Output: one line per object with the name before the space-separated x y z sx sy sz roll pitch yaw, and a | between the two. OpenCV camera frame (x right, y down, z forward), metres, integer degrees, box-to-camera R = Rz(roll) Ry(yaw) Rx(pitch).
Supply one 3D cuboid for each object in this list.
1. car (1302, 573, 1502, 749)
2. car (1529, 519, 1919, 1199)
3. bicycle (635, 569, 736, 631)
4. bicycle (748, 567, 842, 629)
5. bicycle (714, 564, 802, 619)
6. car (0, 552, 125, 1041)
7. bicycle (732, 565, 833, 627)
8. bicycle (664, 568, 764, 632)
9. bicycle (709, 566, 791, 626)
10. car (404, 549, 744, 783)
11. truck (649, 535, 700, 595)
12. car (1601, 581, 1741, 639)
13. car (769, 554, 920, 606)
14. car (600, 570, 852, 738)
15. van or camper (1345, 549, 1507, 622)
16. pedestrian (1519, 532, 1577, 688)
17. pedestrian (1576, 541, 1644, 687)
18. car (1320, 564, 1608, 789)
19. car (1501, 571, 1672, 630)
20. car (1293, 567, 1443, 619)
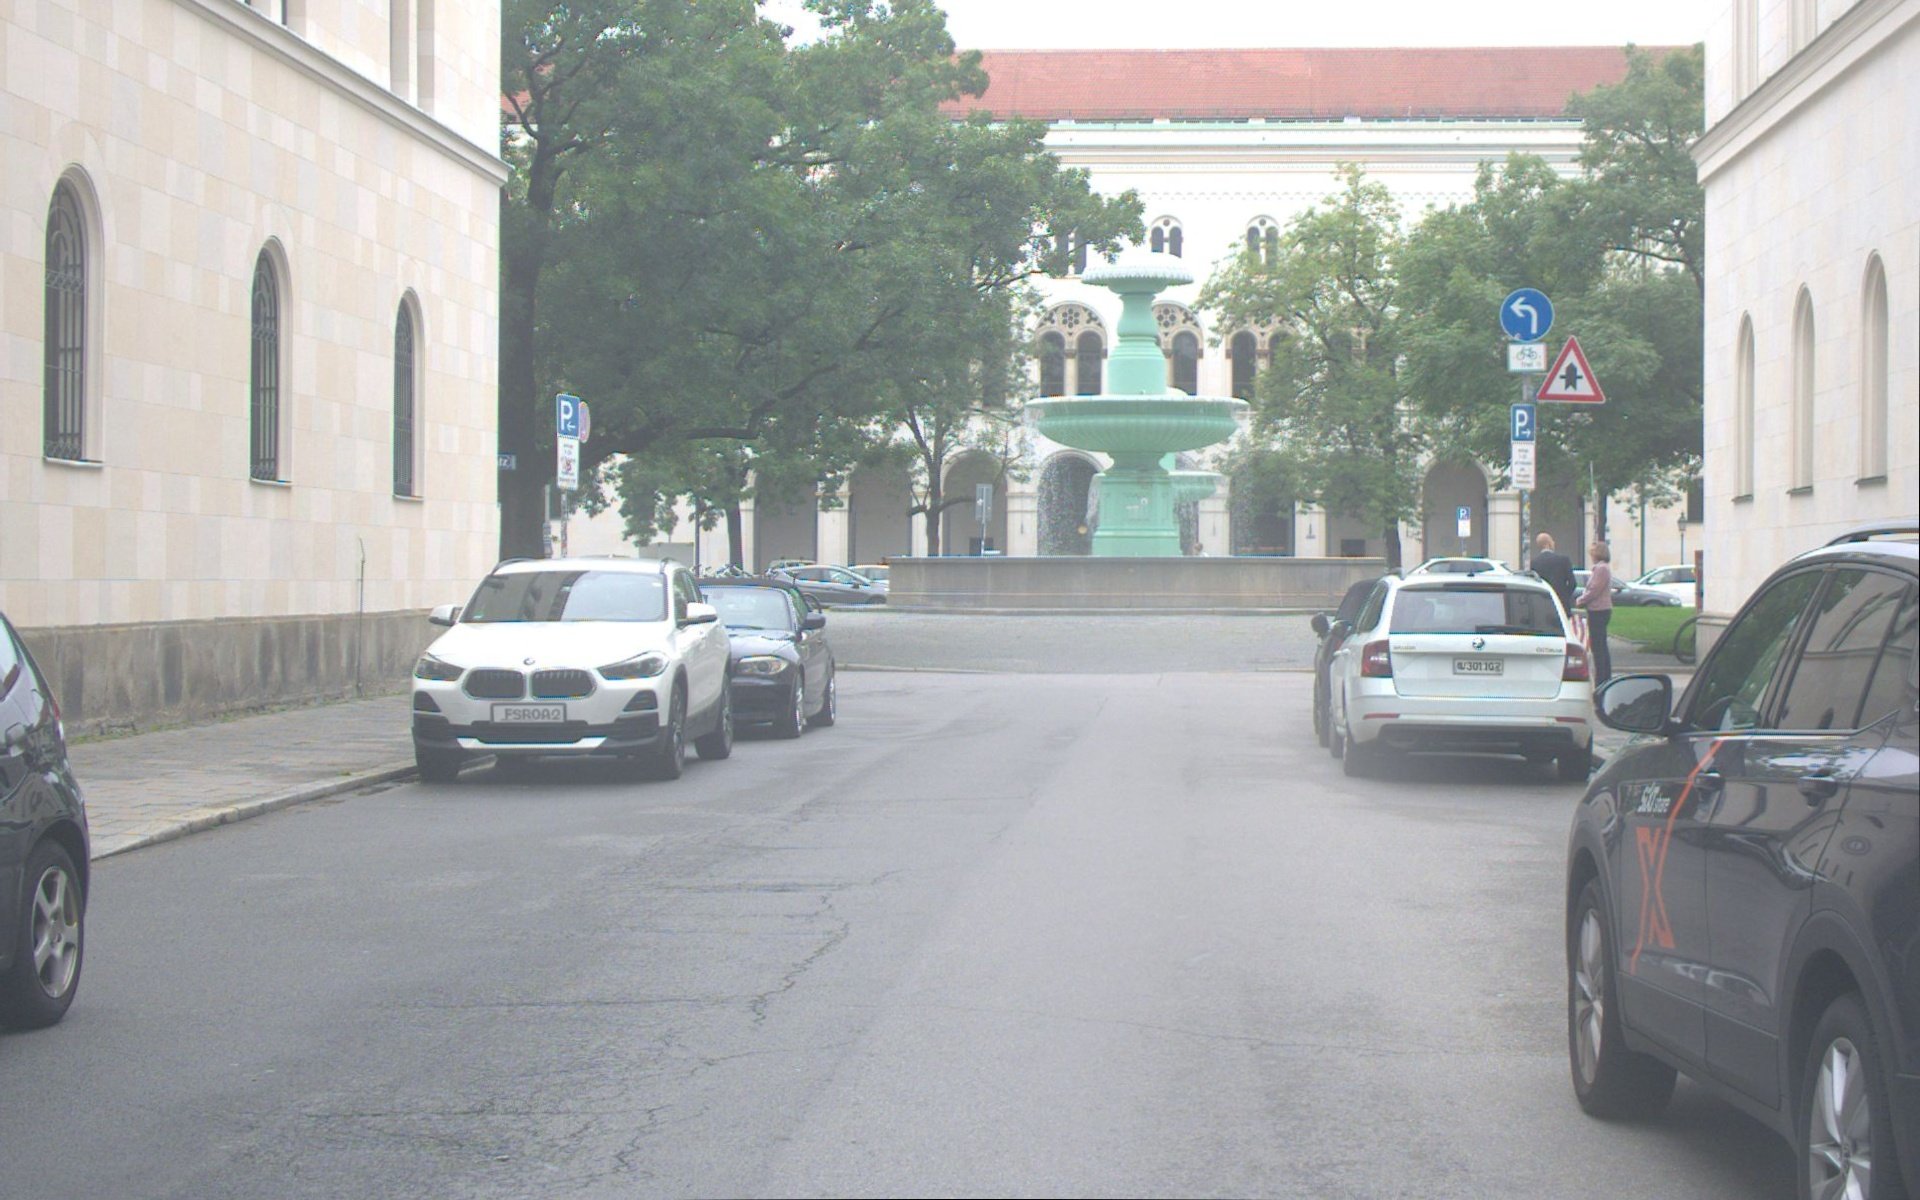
car | 3.817 0.490 30.116 1.540 1.421 3.771 1 0 5
car | 2.448 0.654 7.764 1.747 1.588 3.956 1 1 2
bicycle | -4.803 0.000 60.166 1.620 1.032 0.698 1 1 15
bicycle | -3.077 -0.044 64.043 1.620 1.095 0.616 1 1 15
bicycle | -3.872 -0.164 66.006 1.536 1.016 0.698 1 1 15
car | -3.822 0.636 9.556 1.751 1.448 4.015 -1 2 4
bicycle | -3.263 -0.072 63.332 1.711 1.095 0.698 1 1 15
bicycle | -4.412 0.000 61.674 1.620 1.095 0.698 1 1 15
bicycle | -3.982 -0.078 65.239 1.402 1.095 0.656 1 1 15
car | -2.701 0.439 24.967 1.778 1.529 4.211 -1 0 3
truck | -12.401 -1.533 149.080 1.993 2.480 4.001 1 1 -7
car | 22.731 0.305 109.970 4.097 1.735 1.746 1 1 1
car | -3.129 -0.545 93.740 3.987 1.371 2.000 0 1 3
car | -2.047 0.456 31.187 1.699 1.388 4.211 -1 0 4
van or camper | 13.984 -0.422 103.399 4.579 2.007 2.000 -2 -1 2
pedestrian | 6.831 0.112 39.950 0.642 1.802 0.489 1 1 10
pedestrian | 7.599 0.162 40.226 0.620 1.676 0.546 2 1 -2
car | 3.631 0.494 25.396 1.789 1.471 4.312 1 1 5
car | 16.780 0.005 92.233 4.358 1.519 1.803 0 1 6
car | 10.985 -0.193 92.691 3.988 1.398 1.824 0 1 6
